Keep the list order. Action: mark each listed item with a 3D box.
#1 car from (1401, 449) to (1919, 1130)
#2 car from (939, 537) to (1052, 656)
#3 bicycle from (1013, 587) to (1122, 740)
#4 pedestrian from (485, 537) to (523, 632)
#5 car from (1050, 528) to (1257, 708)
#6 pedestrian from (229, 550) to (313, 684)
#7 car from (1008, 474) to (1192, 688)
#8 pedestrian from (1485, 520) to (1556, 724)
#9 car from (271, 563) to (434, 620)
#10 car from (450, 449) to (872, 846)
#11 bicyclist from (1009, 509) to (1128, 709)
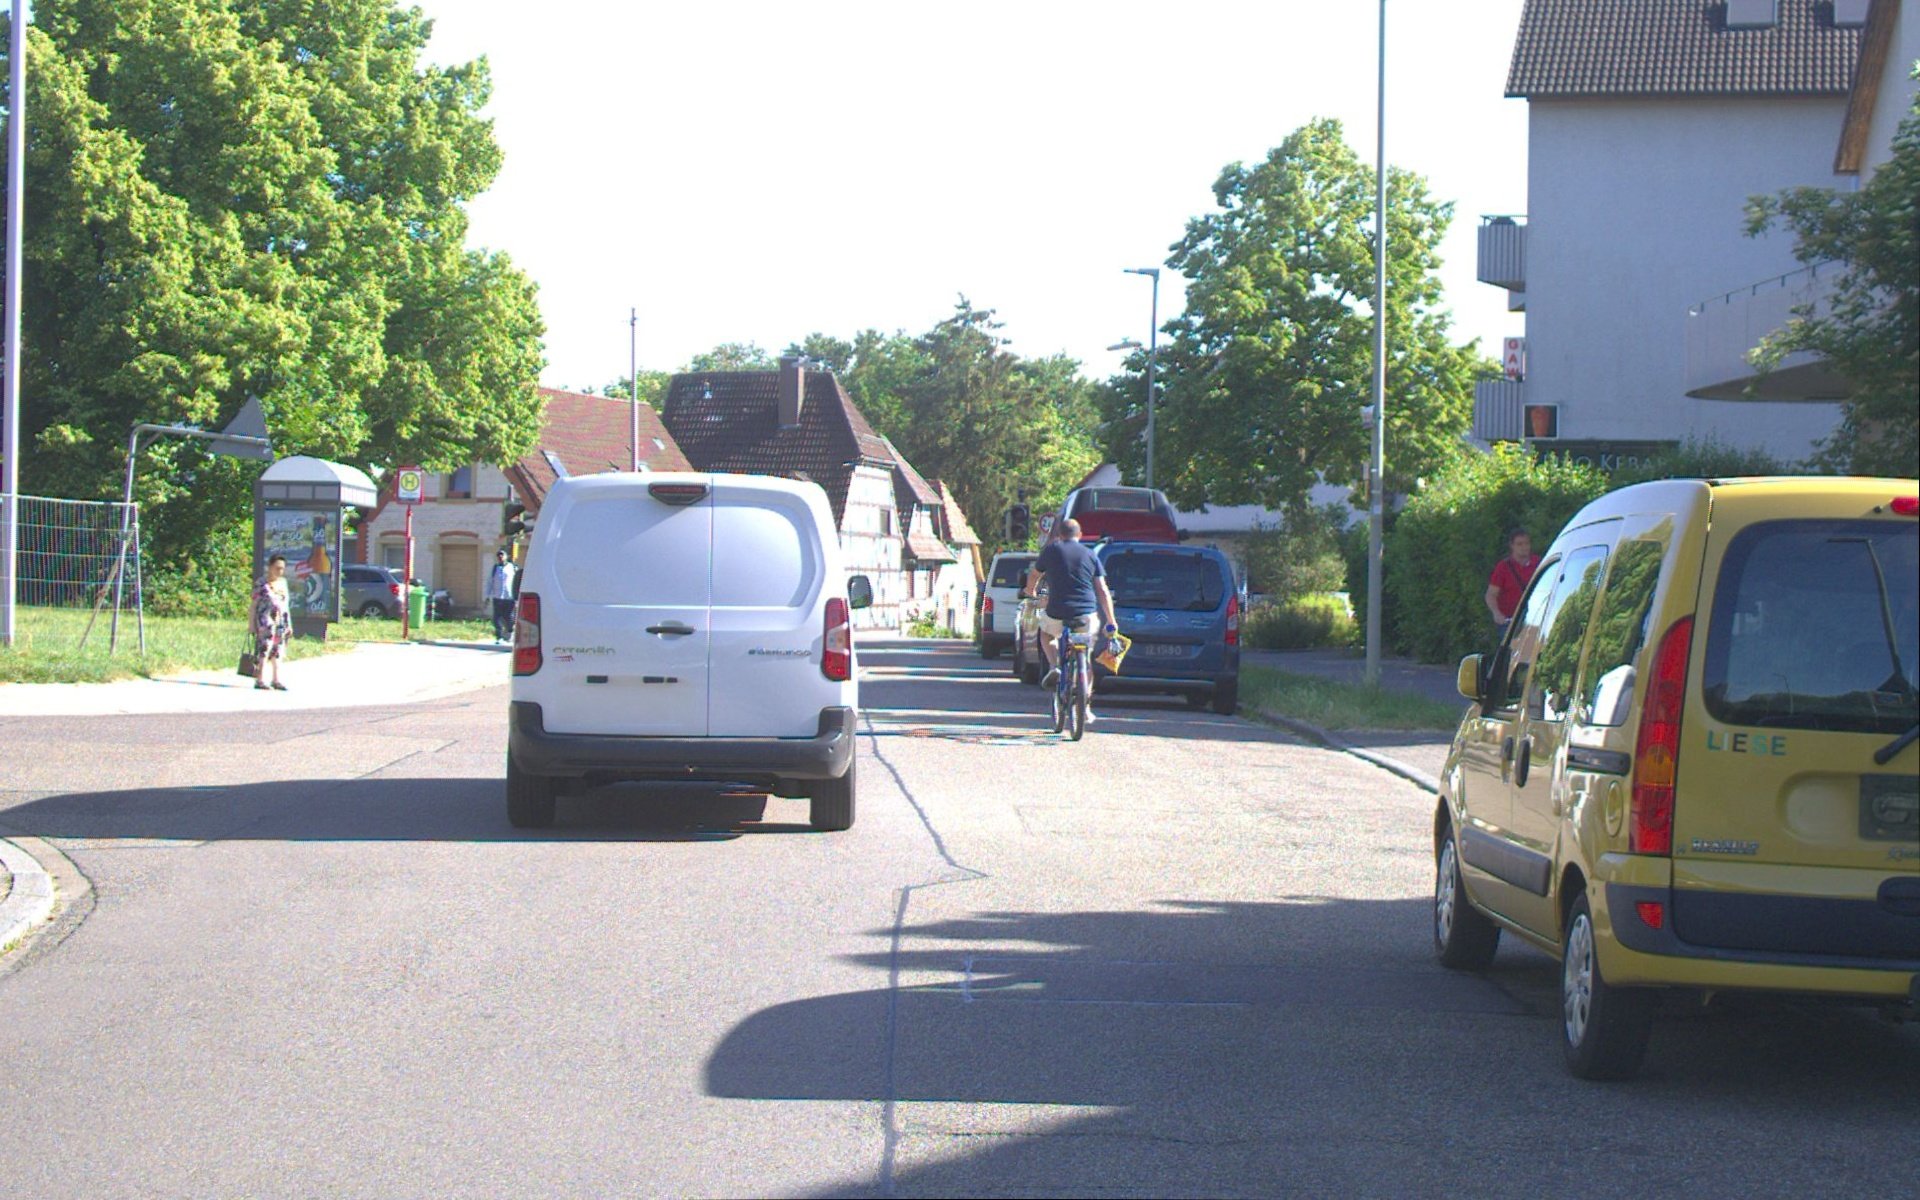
[{"bbox_3d":[2.607,0.507,11.365,1.724,1.831,4.000,2,1,0],"label":"car"},{"bbox_3d":[0.631,-0.062,64.234,1.804,2.061,4.000,3,0,-2],"label":"car"},{"bbox_3d":[0.859,0.494,28.047,0.787,1.134,2.280,2,1,0],"label":"bicycle"},{"bbox_3d":[-8.680,-0.293,65.510,0.621,1.799,0.640,1,-1,-2],"label":"pedestrian"},{"bbox_3d":[2.074,0.188,37.955,1.804,1.779,4.000,3,0,-2],"label":"car"},{"bbox_3d":[-7.600,0.191,37.939,0.510,1.441,0.638,5,1,32],"label":"pedestrian"},{"bbox_3d":[1.768,-0.236,44.930,1.866,2.554,4.768,3,0,-2],"label":"car"},{"bbox_3d":[5.090,0.195,31.235,0.483,1.825,0.486,-2,1,-2],"label":"pedestrian"},{"bbox_3d":[-16.520,-0.229,93.511,3.980,1.424,1.714,2,1,17],"label":"car"},{"bbox_3d":[-1.597,0.199,18.883,1.993,1.875,4.289,2,1,-4],"label":"car"},{"bbox_3d":[0.874,0.069,28.025,0.905,1.579,0.966,2,0,1],"label":"bicyclist"}]
